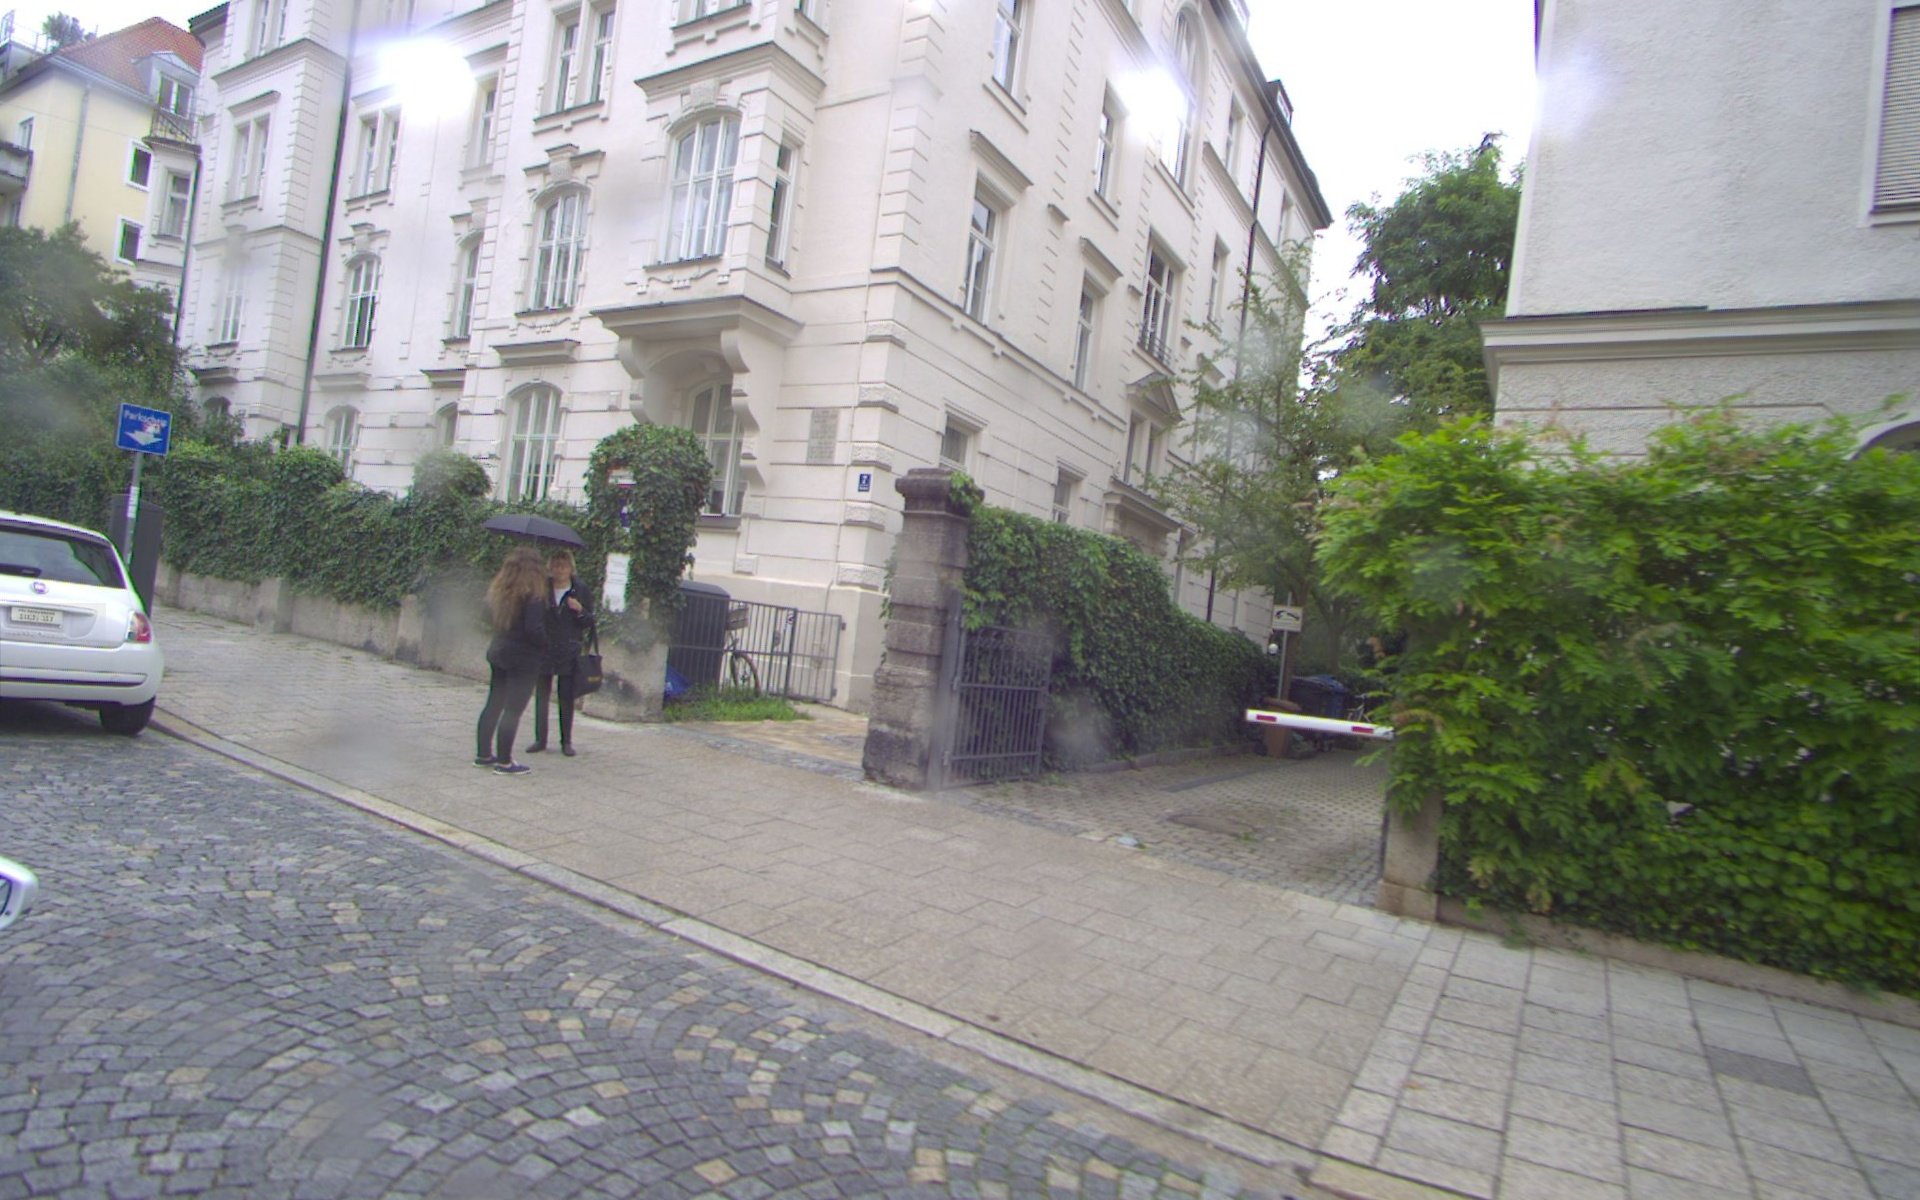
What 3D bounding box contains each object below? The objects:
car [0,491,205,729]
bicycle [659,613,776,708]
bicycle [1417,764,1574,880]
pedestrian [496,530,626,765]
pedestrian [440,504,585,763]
[{"bbox_3d":[-7.581,-0.066,7.620,3.599,1.484,1.635,6,-5,32],"label":"car"},{"bbox_3d":[-3.186,0.780,13.160,1.460,1.054,0.394,6,-2,27],"label":"bicycle"},{"bbox_3d":[4.243,1.740,7.999,1.021,0.686,0.261,6,-1,34],"label":"bicycle"},{"bbox_3d":[-3.328,0.376,8.431,0.647,1.833,0.629,7,4,9],"label":"pedestrian"},{"bbox_3d":[-3.422,0.252,7.691,0.672,1.872,0.575,7,-1,40],"label":"pedestrian"}]
